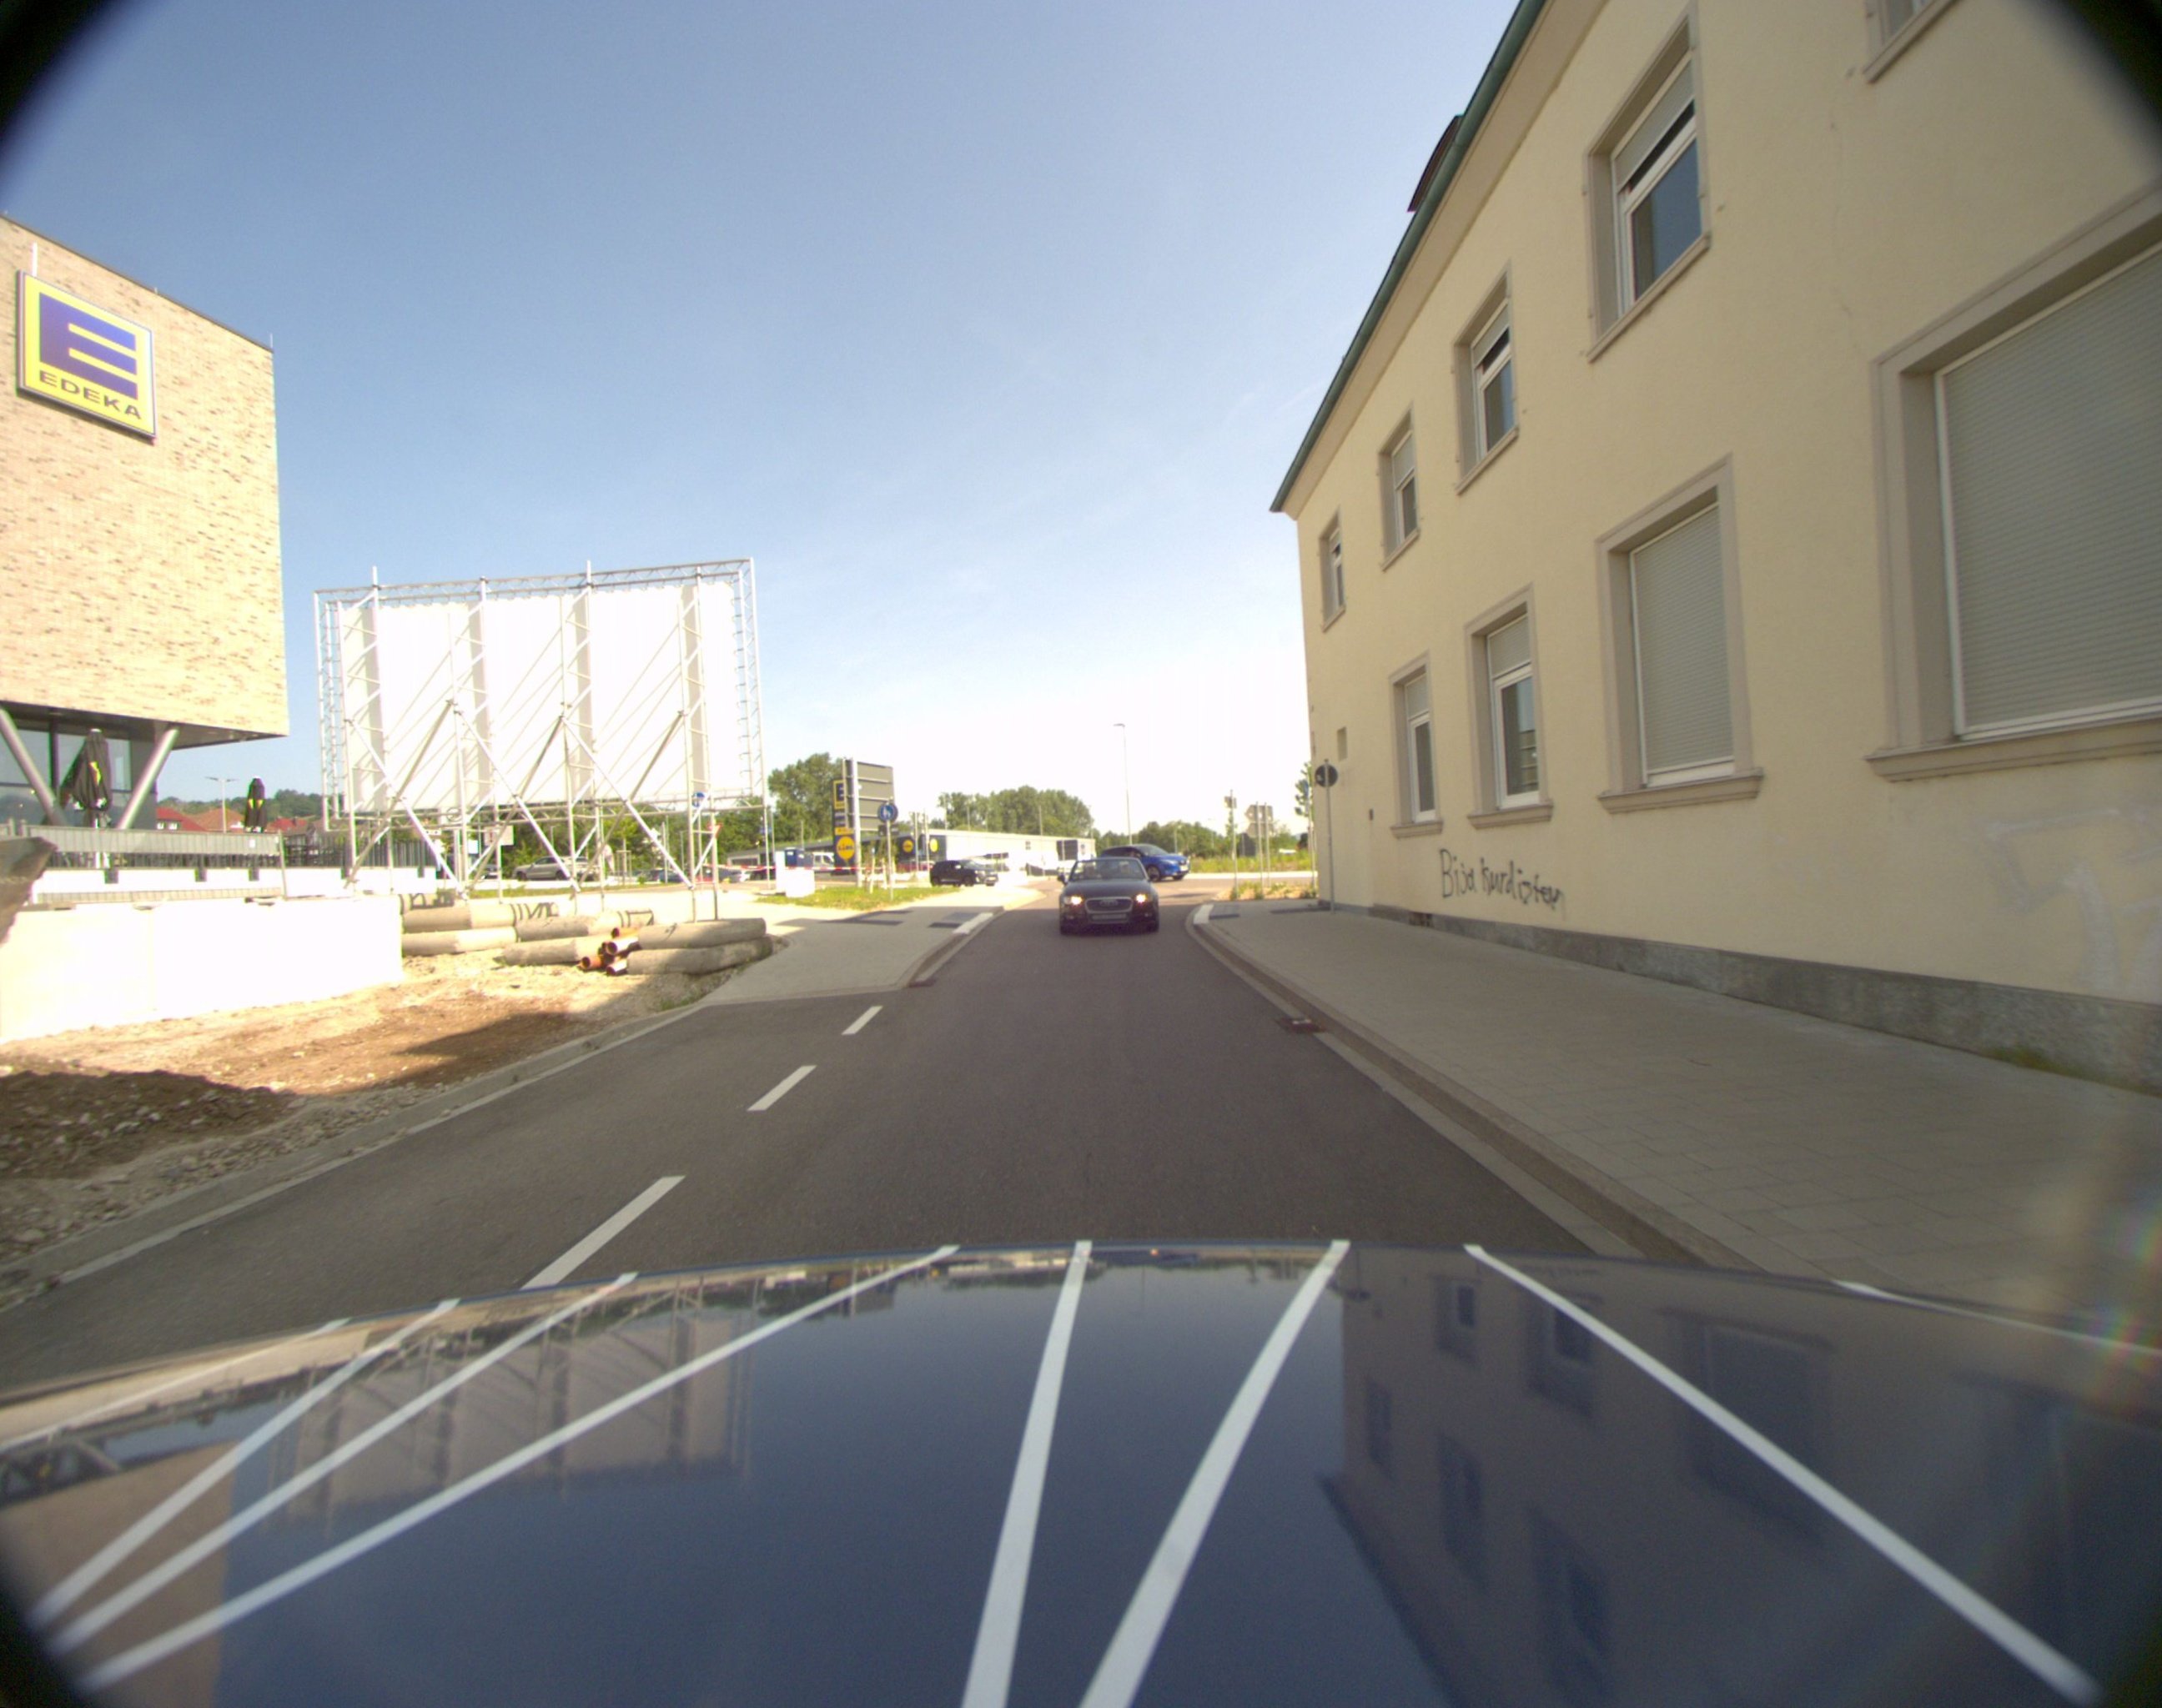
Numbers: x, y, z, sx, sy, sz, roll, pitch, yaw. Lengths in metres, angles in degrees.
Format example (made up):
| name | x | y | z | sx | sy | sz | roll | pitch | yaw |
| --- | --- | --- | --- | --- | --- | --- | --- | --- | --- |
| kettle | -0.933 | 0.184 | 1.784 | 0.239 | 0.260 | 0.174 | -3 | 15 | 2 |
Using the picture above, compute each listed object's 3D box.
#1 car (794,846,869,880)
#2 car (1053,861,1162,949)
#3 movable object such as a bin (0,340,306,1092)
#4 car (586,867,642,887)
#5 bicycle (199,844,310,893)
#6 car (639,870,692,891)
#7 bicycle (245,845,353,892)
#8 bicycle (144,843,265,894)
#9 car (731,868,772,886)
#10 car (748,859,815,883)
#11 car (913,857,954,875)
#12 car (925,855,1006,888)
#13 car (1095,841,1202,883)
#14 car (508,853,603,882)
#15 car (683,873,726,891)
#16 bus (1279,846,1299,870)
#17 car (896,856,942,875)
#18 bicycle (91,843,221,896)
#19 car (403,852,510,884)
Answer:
| name | x | y | z | sx | sy | sz | roll | pitch | yaw |
| --- | --- | --- | --- | --- | --- | --- | --- | --- | --- |
| car | -21.707 | 0.804 | 66.111 | 6.080 | 2.369 | 2.064 | -6 | -2 | 19 |
| car | 0.560 | 0.849 | 14.287 | 1.721 | 1.314 | 4.225 | -1 | 1 | 4 |
| movable object such as a bin | -6.757 | -0.662 | 1.247 | 2.300 | 3.831 | 7.801 | -5 | -1 | 4 |
| car | -37.814 | 1.870 | 61.645 | 1.523 | 1.436 | 3.637 | -6 | -2 | 18 |
| bicycle | -23.011 | 0.405 | 21.179 | 2.242 | 1.137 | 0.766 | -5 | -1 | 2 |
| car | -36.151 | 2.322 | 66.236 | 1.760 | 1.564 | 3.792 | -6 | -2 | 17 |
| bicycle | -22.815 | 0.435 | 22.196 | 2.242 | 1.137 | 0.857 | -5 | -2 | 2 |
| bicycle | -23.301 | 0.394 | 20.223 | 2.242 | 1.137 | 0.857 | -5 | -2 | 2 |
| car | -33.737 | 2.345 | 77.806 | 1.663 | 1.564 | 3.792 | -6 | -2 | 17 |
| car | -24.006 | 1.357 | 60.906 | 4.851 | 1.521 | 1.925 | -6 | -2 | 21 |
| car | -15.649 | 1.288 | 80.722 | 3.997 | 1.564 | 1.704 | -5 | -2 | -1 |
| car | -6.212 | 0.962 | 40.655 | 4.220 | 1.384 | 1.647 | -7 | -2 | 36 |
| car | 2.843 | 0.349 | 32.538 | 1.891 | 1.653 | 4.341 | -3 | 1 | -45 |
| car | -30.759 | 0.817 | 44.492 | 4.812 | 1.546 | 1.861 | -1 | -3 | 16 |
| car | -39.151 | 2.907 | 79.051 | 1.760 | 1.564 | 3.792 | -6 | -2 | 17 |
| bus | 32.272 | 0.697 | 118.308 | 2.584 | 3.308 | 10.602 | -6 | -2 | 14 |
| car | -16.052 | 1.147 | 75.441 | 4.019 | 1.564 | 1.780 | -5 | -2 | 2 |
| bicycle | -23.415 | 0.396 | 19.261 | 2.242 | 1.137 | 0.857 | -5 | -2 | 2 |
| car | -31.937 | 0.752 | 38.907 | 4.452 | 1.546 | 1.861 | -1 | -3 | 13 |
